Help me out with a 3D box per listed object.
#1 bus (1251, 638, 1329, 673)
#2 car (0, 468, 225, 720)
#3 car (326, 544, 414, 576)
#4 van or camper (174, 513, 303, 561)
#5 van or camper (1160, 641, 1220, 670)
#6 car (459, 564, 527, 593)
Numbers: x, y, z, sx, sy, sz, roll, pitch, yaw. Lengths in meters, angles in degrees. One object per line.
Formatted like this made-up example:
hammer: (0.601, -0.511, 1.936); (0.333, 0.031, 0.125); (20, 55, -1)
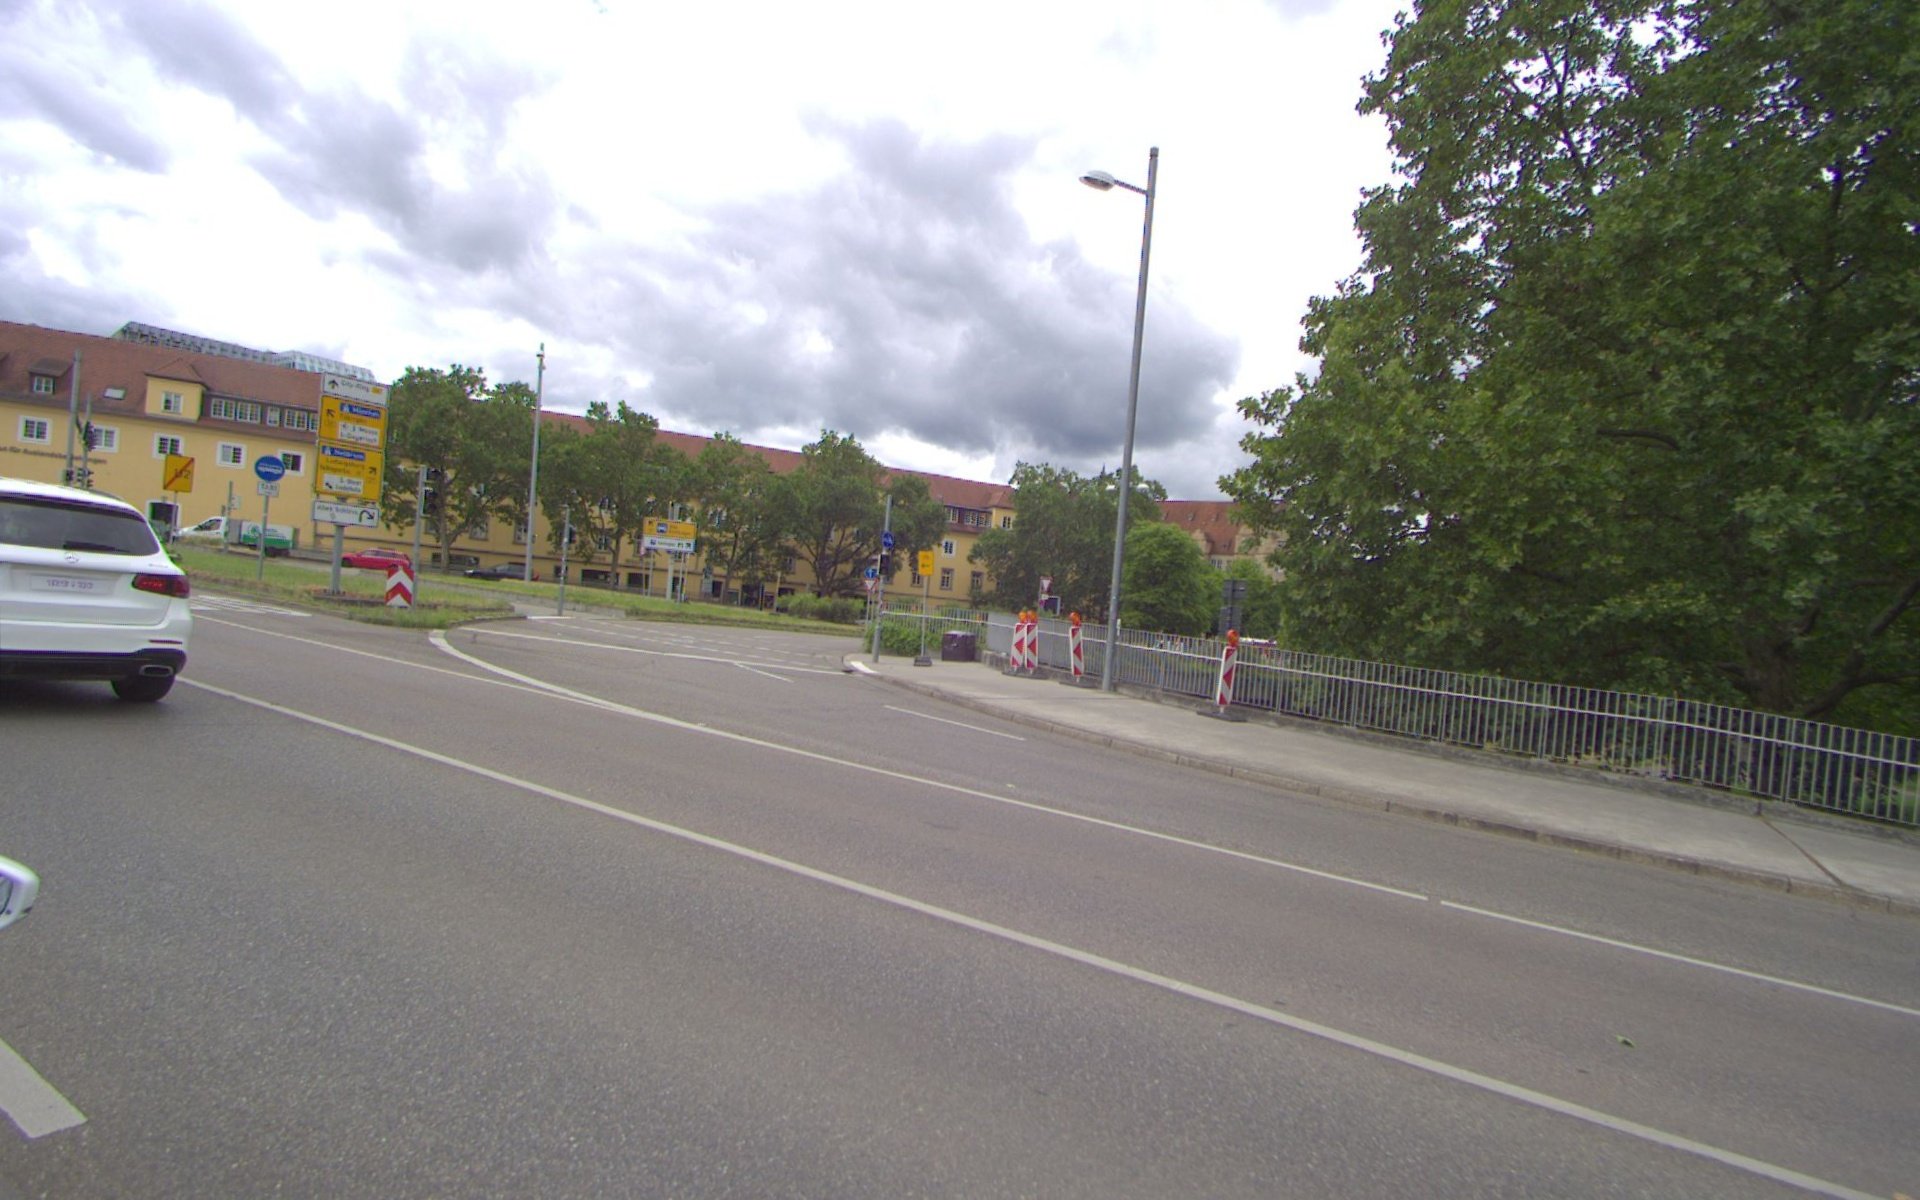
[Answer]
bus: (36.755, 6.232, 111.924); (9.571, 2.885, 2.549); (7, -1, -32)
car: (-8.032, -0.227, 8.046); (4.305, 1.667, 1.822); (7, 0, 31)
car: (-37.639, -2.553, 64.339); (4.637, 1.438, 1.586); (7, -1, -27)
van or camper: (-43.885, -3.776, 61.364); (5.946, 2.038, 2.009); (7, -1, -24)
van or camper: (19.771, 4.753, 86.289); (5.096, 1.914, 1.647); (7, -1, -30)
car: (-31.394, -1.457, 67.663); (4.041, 1.430, 1.648); (7, -1, -27)
